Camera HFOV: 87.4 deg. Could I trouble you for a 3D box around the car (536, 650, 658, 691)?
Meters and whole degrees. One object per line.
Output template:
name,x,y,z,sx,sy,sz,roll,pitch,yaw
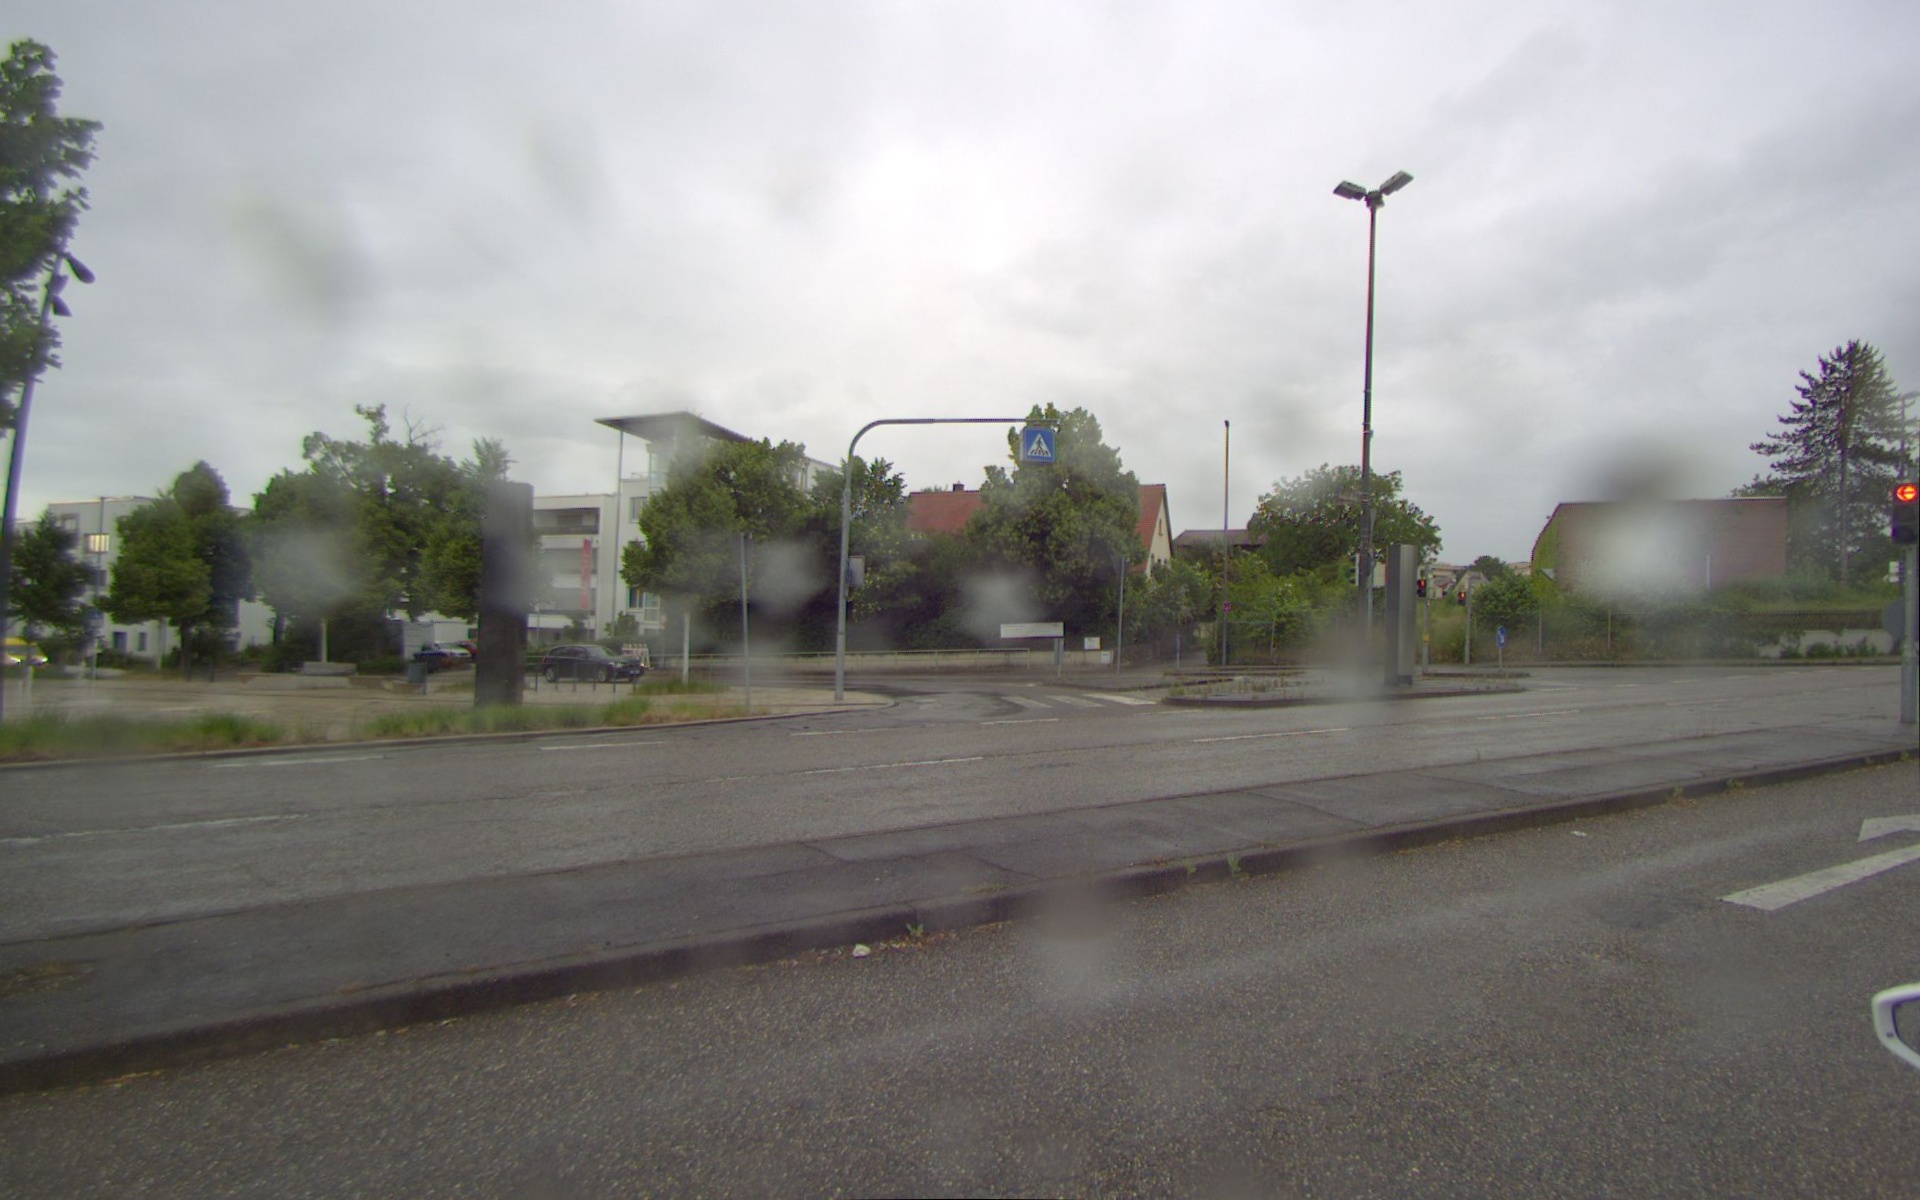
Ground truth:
car,-13.813,2.660,38.225,4.198,1.408,1.791,0,-2,22

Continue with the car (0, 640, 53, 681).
car,-59.695,3.815,63.334,5.812,2.441,1.997,-2,-3,30
